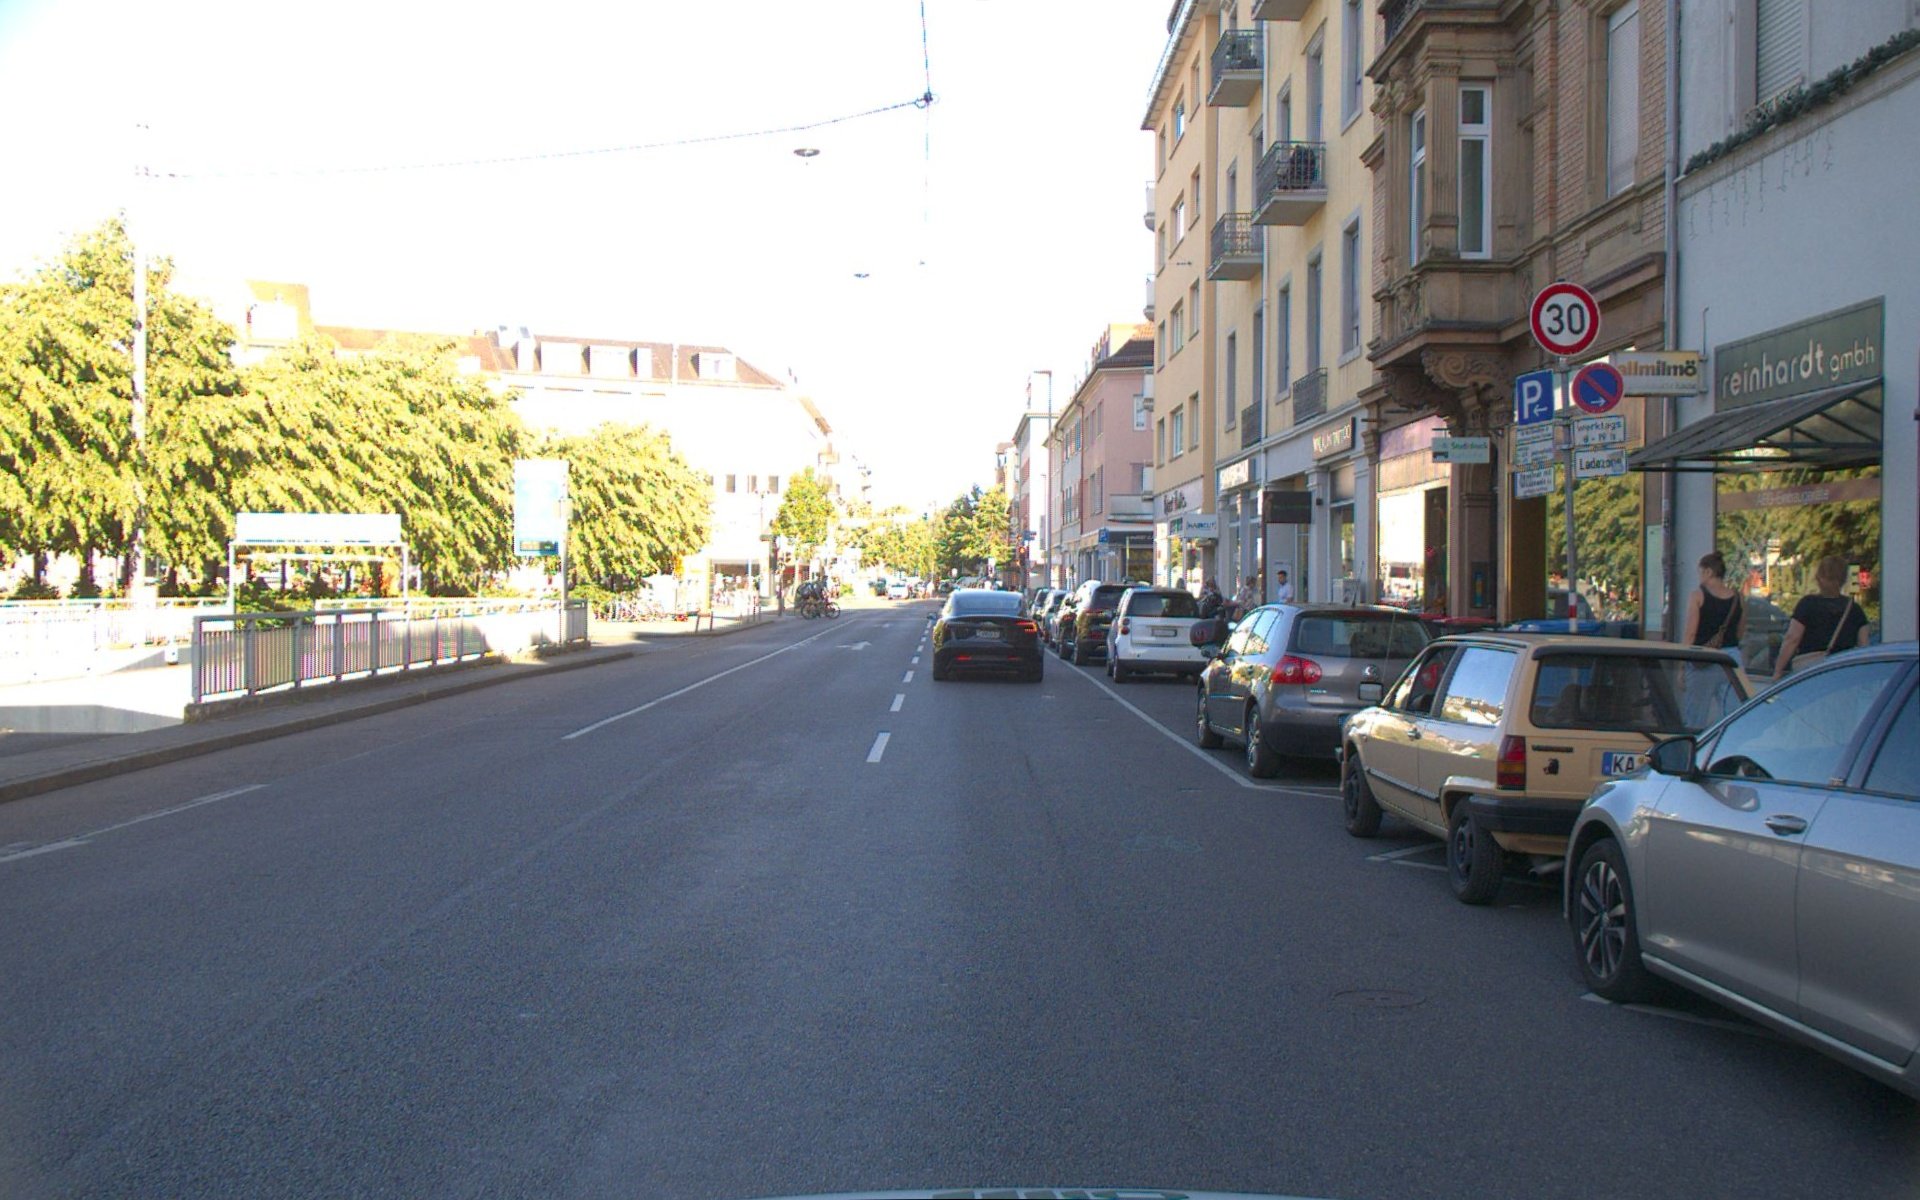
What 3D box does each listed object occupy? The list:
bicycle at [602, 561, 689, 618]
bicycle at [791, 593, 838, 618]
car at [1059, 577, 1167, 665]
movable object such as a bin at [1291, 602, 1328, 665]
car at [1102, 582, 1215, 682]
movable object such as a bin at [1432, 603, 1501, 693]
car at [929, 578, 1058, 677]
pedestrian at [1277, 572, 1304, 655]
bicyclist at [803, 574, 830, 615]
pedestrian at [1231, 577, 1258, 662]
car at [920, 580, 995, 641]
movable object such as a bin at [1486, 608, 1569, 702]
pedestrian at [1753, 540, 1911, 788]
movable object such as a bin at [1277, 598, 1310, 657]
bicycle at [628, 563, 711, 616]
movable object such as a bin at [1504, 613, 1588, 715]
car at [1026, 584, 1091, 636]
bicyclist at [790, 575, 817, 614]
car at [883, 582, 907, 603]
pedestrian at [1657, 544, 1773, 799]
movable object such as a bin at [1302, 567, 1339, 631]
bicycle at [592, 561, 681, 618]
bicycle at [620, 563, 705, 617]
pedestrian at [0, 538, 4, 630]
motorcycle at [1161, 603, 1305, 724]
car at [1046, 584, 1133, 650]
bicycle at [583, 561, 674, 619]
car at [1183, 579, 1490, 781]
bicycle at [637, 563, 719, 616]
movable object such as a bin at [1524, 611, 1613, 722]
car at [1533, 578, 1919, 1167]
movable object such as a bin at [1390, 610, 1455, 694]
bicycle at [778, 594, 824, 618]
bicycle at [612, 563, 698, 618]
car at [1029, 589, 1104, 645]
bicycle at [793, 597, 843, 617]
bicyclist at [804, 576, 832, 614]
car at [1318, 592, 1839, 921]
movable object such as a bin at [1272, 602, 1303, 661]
[{"bbox_3d":[-11.715,-0.396,61.627,3.054,2.049,0.909,1,0,9],"label":"bicycle"},{"bbox_3d":[-6.196,0.229,70.667,1.972,1.040,0.887,0,0,-4],"label":"bicycle"},{"bbox_3d":[3.099,0.423,34.184,1.682,1.664,4.082,1,-1,-2],"label":"car"},{"bbox_3d":[6.170,0.586,29.239,0.485,1.070,0.632,-1,0,-2],"label":"movable object such as a bin"},{"bbox_3d":[3.352,0.510,28.358,1.580,1.573,2.855,1,1,1],"label":"car"},{"bbox_3d":[6.290,0.590,20.571,0.631,1.070,0.632,-1,0,-2],"label":"movable object such as a bin"},{"bbox_3d":[0.482,0.451,28.167,1.955,1.506,4.493,1,-1,-2],"label":"car"},{"bbox_3d":[6.643,0.268,33.291,0.460,1.664,0.513,1,0,4],"label":"pedestrian"},{"bbox_3d":[-6.108,-0.239,70.648,1.123,1.715,0.918,0,0,-4],"label":"bicyclist"},{"bbox_3d":[5.667,0.383,32.948,0.460,1.664,0.513,1,0,15],"label":"pedestrian"},{"bbox_3d":[-0.014,0.249,44.187,1.895,1.513,4.272,1,0,1],"label":"car"},{"bbox_3d":[6.376,0.608,18.604,0.709,1.018,0.592,-1,0,-1],"label":"movable object such as a bin"},{"bbox_3d":[6.218,0.443,11.822,0.784,1.704,0.589,-2,0,2],"label":"pedestrian"},{"bbox_3d":[6.134,0.501,30.441,0.469,1.070,0.468,-1,0,-2],"label":"movable object such as a bin"},{"bbox_3d":[-11.358,-0.425,64.797,3.054,2.049,0.909,1,0,9],"label":"bicycle"},{"bbox_3d":[6.371,0.689,17.995,0.665,1.061,0.626,-1,0,-1],"label":"movable object such as a bin"},{"bbox_3d":[3.028,0.320,51.423,1.756,1.485,3.867,1,-1,0],"label":"car"},{"bbox_3d":[-6.919,-0.227,73.154,1.123,1.715,0.819,0,0,-4],"label":"bicyclist"},{"bbox_3d":[-5.844,-0.664,149.218,1.952,1.802,4.001,1,1,1],"label":"car"},{"bbox_3d":[5.417,0.501,11.888,0.607,1.797,0.518,0,0,2],"label":"pedestrian"},{"bbox_3d":[6.176,-0.019,28.357,0.469,1.070,0.632,-1,0,-2],"label":"movable object such as a bin"},{"bbox_3d":[-11.847,-0.393,60.634,3.054,2.049,0.909,1,0,9],"label":"bicycle"},{"bbox_3d":[-11.463,-0.387,63.758,3.054,2.049,0.909,1,0,9],"label":"bicycle"},{"bbox_3d":[-22.765,-0.368,38.155,0.717,2.145,0.967,0,0,22],"label":"pedestrian"},{"bbox_3d":[3.249,0.712,19.553,0.645,1.351,2.030,0,0,44],"label":"motorcycle"},{"bbox_3d":[3.093,0.416,40.275,1.756,1.485,4.084,1,-1,0],"label":"car"},{"bbox_3d":[-11.954,-0.376,59.677,3.054,2.049,0.909,1,0,9],"label":"bicycle"},{"bbox_3d":[3.323,0.621,15.446,1.801,1.573,4.227,1,1,-1],"label":"car"},{"bbox_3d":[-11.209,-0.429,65.841,3.054,2.049,0.909,1,0,9],"label":"bicycle"},{"bbox_3d":[6.339,0.684,17.252,0.665,1.115,0.626,-1,0,-1],"label":"movable object such as a bin"},{"bbox_3d":[3.384,0.714,5.007,1.801,1.513,4.184,1,1,0],"label":"car"},{"bbox_3d":[6.243,0.691,22.358,0.631,1.094,0.819,-1,0,1],"label":"movable object such as a bin"},{"bbox_3d":[-7.028,0.282,73.145,1.972,1.040,0.762,0,0,-4],"label":"bicycle"},{"bbox_3d":[-11.556,-0.369,62.674,3.054,2.049,0.909,1,0,9],"label":"bicycle"},{"bbox_3d":[3.007,0.478,47.352,1.756,1.485,3.867,1,-1,-2],"label":"car"},{"bbox_3d":[-6.487,0.317,75.611,2.197,0.898,0.924,0,0,3],"label":"bicycle"},{"bbox_3d":[-6.488,-0.211,75.618,1.122,1.715,0.915,0,0,3],"label":"bicyclist"},{"bbox_3d":[3.330,0.729,9.710,1.575,1.474,3.830,1,1,0],"label":"car"},{"bbox_3d":[6.128,0.585,30.979,0.446,1.070,0.499,-1,0,-2],"label":"movable object such as a bin"}]
